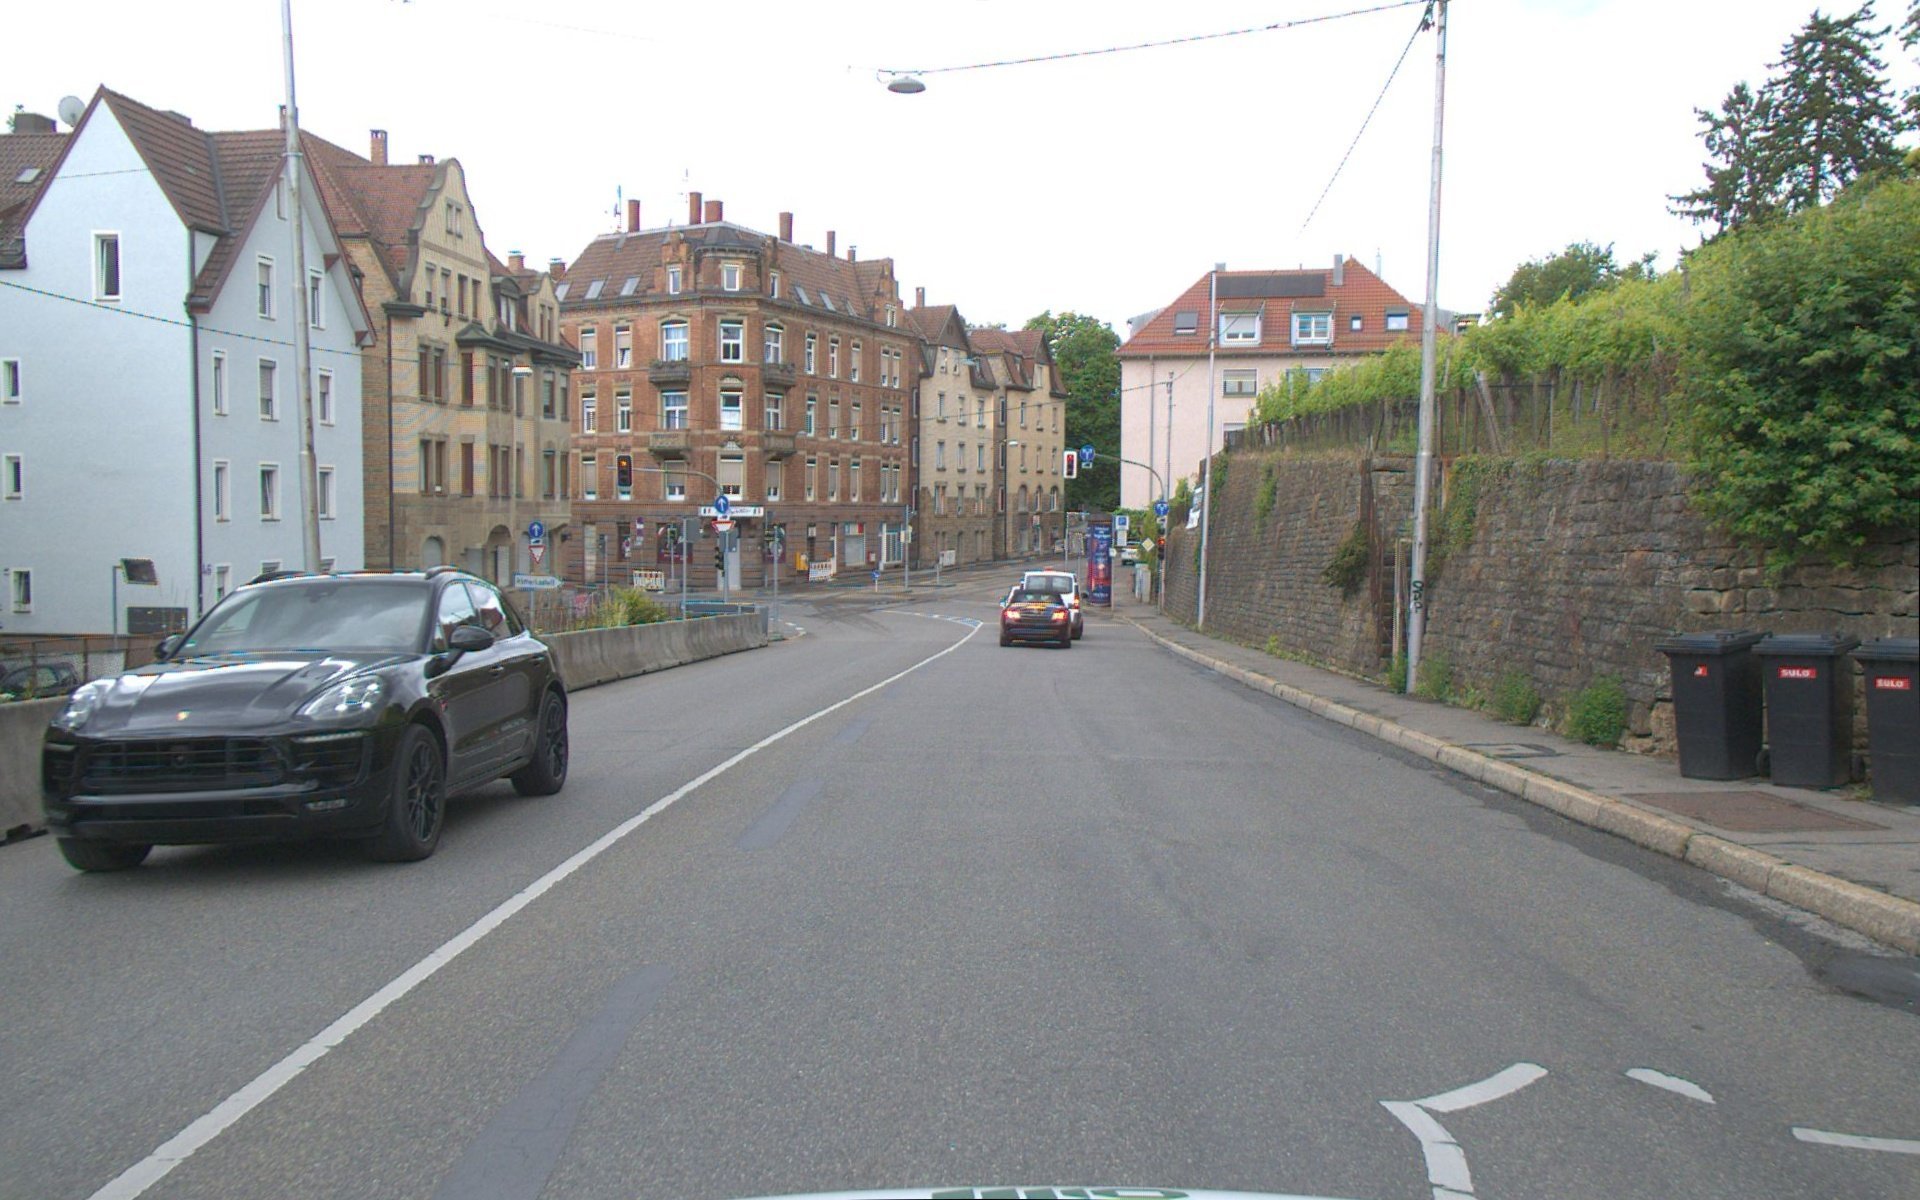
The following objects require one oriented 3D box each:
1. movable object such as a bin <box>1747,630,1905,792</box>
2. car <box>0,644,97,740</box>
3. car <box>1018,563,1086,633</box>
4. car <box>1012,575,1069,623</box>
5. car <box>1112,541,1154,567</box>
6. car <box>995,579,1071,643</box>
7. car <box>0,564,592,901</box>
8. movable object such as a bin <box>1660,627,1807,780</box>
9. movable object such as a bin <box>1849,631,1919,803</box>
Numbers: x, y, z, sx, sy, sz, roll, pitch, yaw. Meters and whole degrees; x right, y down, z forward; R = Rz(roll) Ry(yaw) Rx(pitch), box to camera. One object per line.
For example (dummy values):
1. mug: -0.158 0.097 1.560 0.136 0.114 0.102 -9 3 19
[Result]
1. movable object such as a bin: 6.089 0.760 11.651 0.730 1.077 0.676 0 0 -17
2. car: -18.605 1.782 31.520 1.756 1.636 4.218 -2 1 6
3. car: 2.673 -0.086 48.558 1.869 1.916 4.002 2 1 2
4. car: 2.698 -0.064 55.458 1.803 1.466 4.002 2 1 2
5. car: 12.369 -3.295 118.282 1.804 1.731 3.999 1 3 24
6. car: 1.846 0.239 41.672 1.778 1.455 4.002 2 1 2
7. car: -3.811 0.610 10.361 1.941 1.602 4.376 -2 1 1
8. movable object such as a bin: 5.729 0.747 12.276 0.730 1.077 0.676 0 0 -17
9. movable object such as a bin: 6.416 0.757 10.893 0.730 1.077 0.676 0 0 -17
